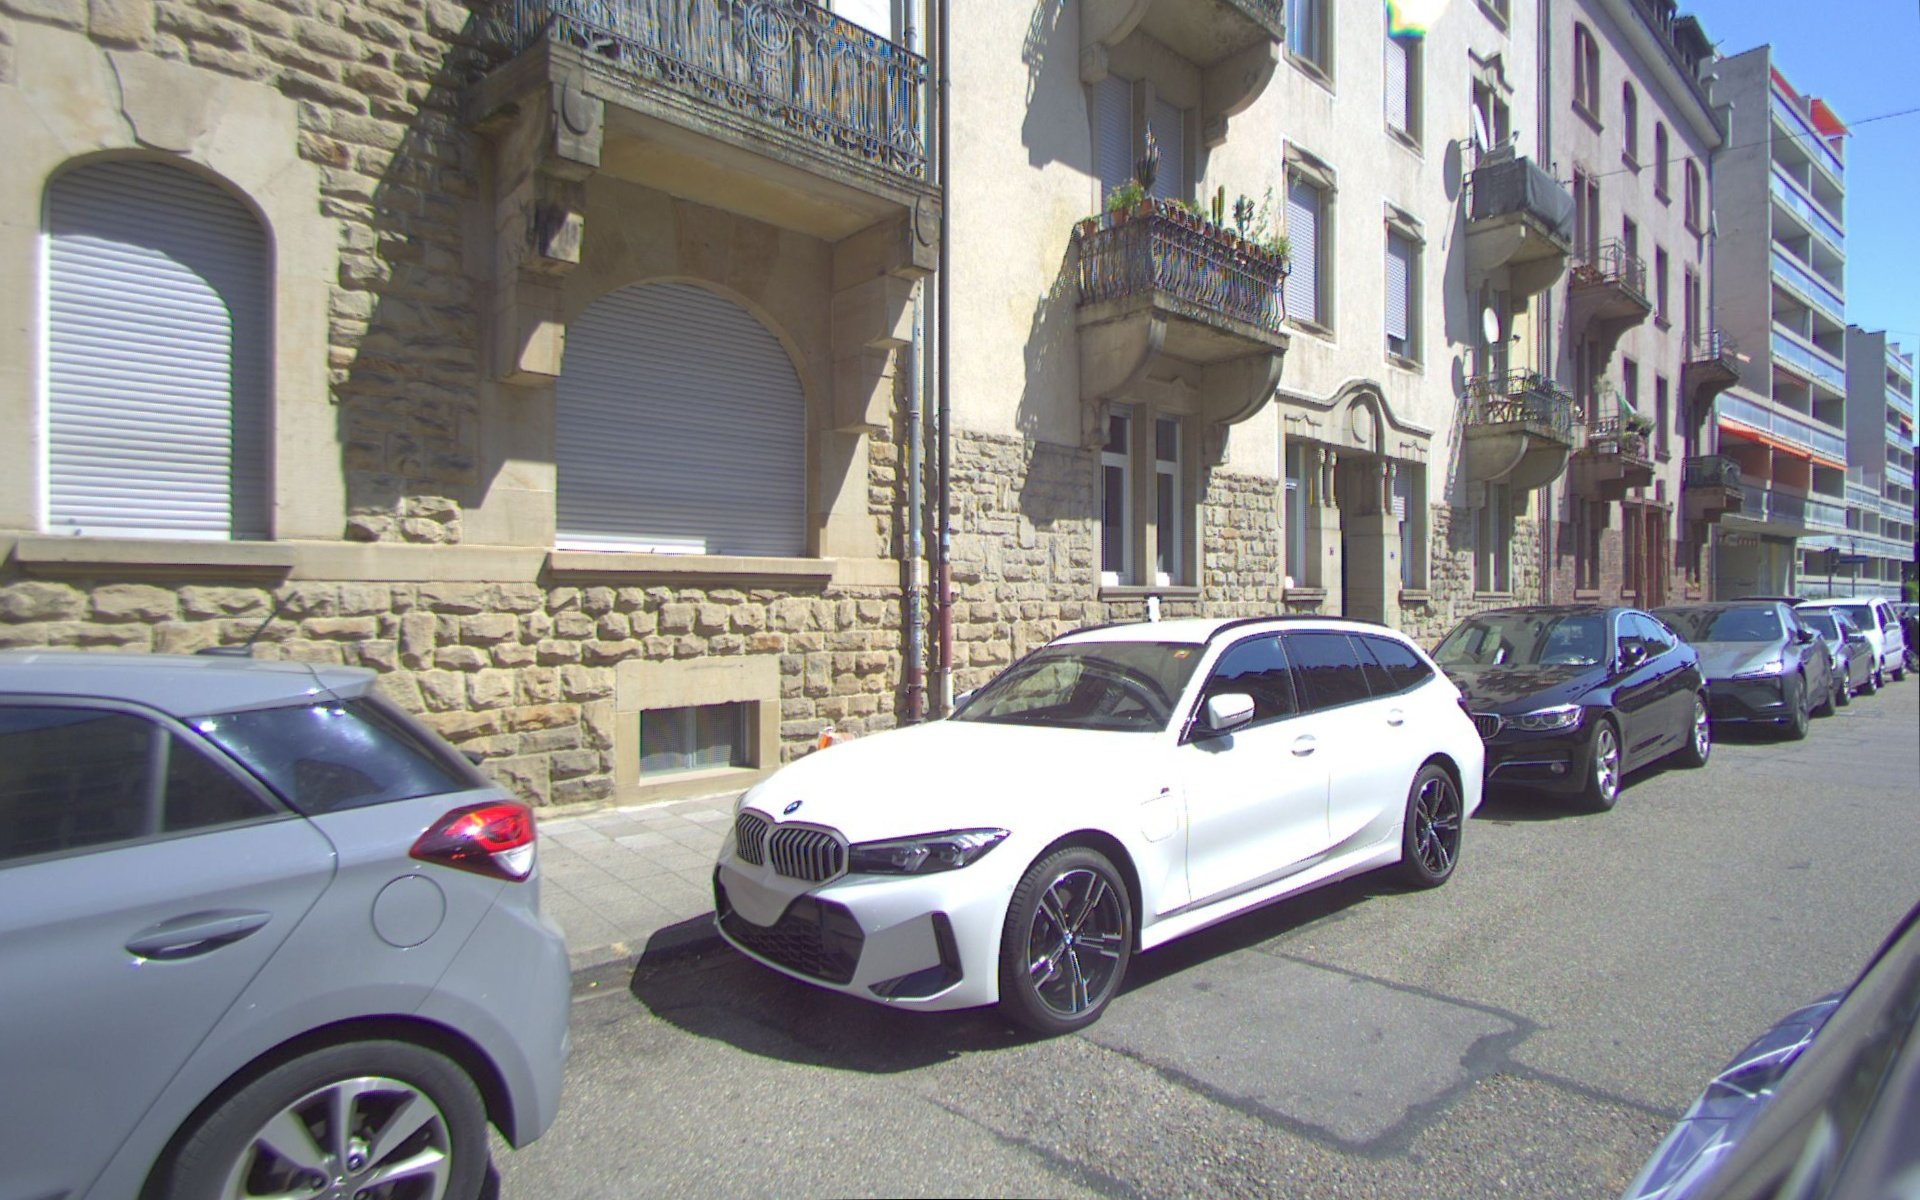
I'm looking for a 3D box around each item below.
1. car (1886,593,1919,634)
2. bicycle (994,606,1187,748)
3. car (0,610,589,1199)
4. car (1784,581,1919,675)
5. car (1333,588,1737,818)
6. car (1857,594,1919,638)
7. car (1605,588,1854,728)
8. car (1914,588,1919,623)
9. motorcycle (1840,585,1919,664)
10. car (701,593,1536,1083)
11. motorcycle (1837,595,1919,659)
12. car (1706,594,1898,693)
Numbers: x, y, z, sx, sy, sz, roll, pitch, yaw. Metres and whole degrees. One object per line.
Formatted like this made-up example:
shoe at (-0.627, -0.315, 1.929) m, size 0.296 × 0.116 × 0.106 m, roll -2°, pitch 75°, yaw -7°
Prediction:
car at (38.537, 0.526, 40.548) m, size 3.835 × 1.512 × 1.752 m, roll -1°, pitch 1°, yaw -41°
bicycle at (1.340, 0.705, 10.072) m, size 2.088 × 1.204 × 0.641 m, roll -1°, pitch 4°, yaw -41°
car at (-2.876, 0.814, 1.876) m, size 3.789 × 1.471 × 1.592 m, roll -1°, pitch -1°, yaw -41°
car at (17.576, 0.455, 19.594) m, size 4.016 × 1.642 × 1.652 m, roll -1°, pitch 1°, yaw -38°
car at (5.221, 0.656, 8.881) m, size 4.589 × 1.476 × 1.739 m, roll -1°, pitch 1°, yaw -42°
car at (34.814, 0.546, 37.631) m, size 3.835 × 1.512 × 1.752 m, roll -1°, pitch 1°, yaw -41°
car at (9.715, 0.585, 12.637) m, size 4.415 × 1.450 × 1.824 m, roll -1°, pitch 0°, yaw -44°
car at (45.607, 0.234, 46.877) m, size 3.931 × 1.571 × 1.716 m, roll -1°, pitch 1°, yaw -41°
motorcycle at (20.764, 0.516, 22.086) m, size 2.157 × 1.643 × 0.764 m, roll -3°, pitch -2°, yaw 8°
car at (1.141, 0.755, 5.274) m, size 4.515 × 1.471 × 1.719 m, roll -1°, pitch -1°, yaw -40°
motorcycle at (22.835, 0.644, 24.598) m, size 2.157 × 1.448 × 0.732 m, roll -3°, pitch -2°, yaw 9°
car at (13.751, 0.609, 16.448) m, size 4.277 × 1.375 × 1.789 m, roll 0°, pitch 1°, yaw -42°
